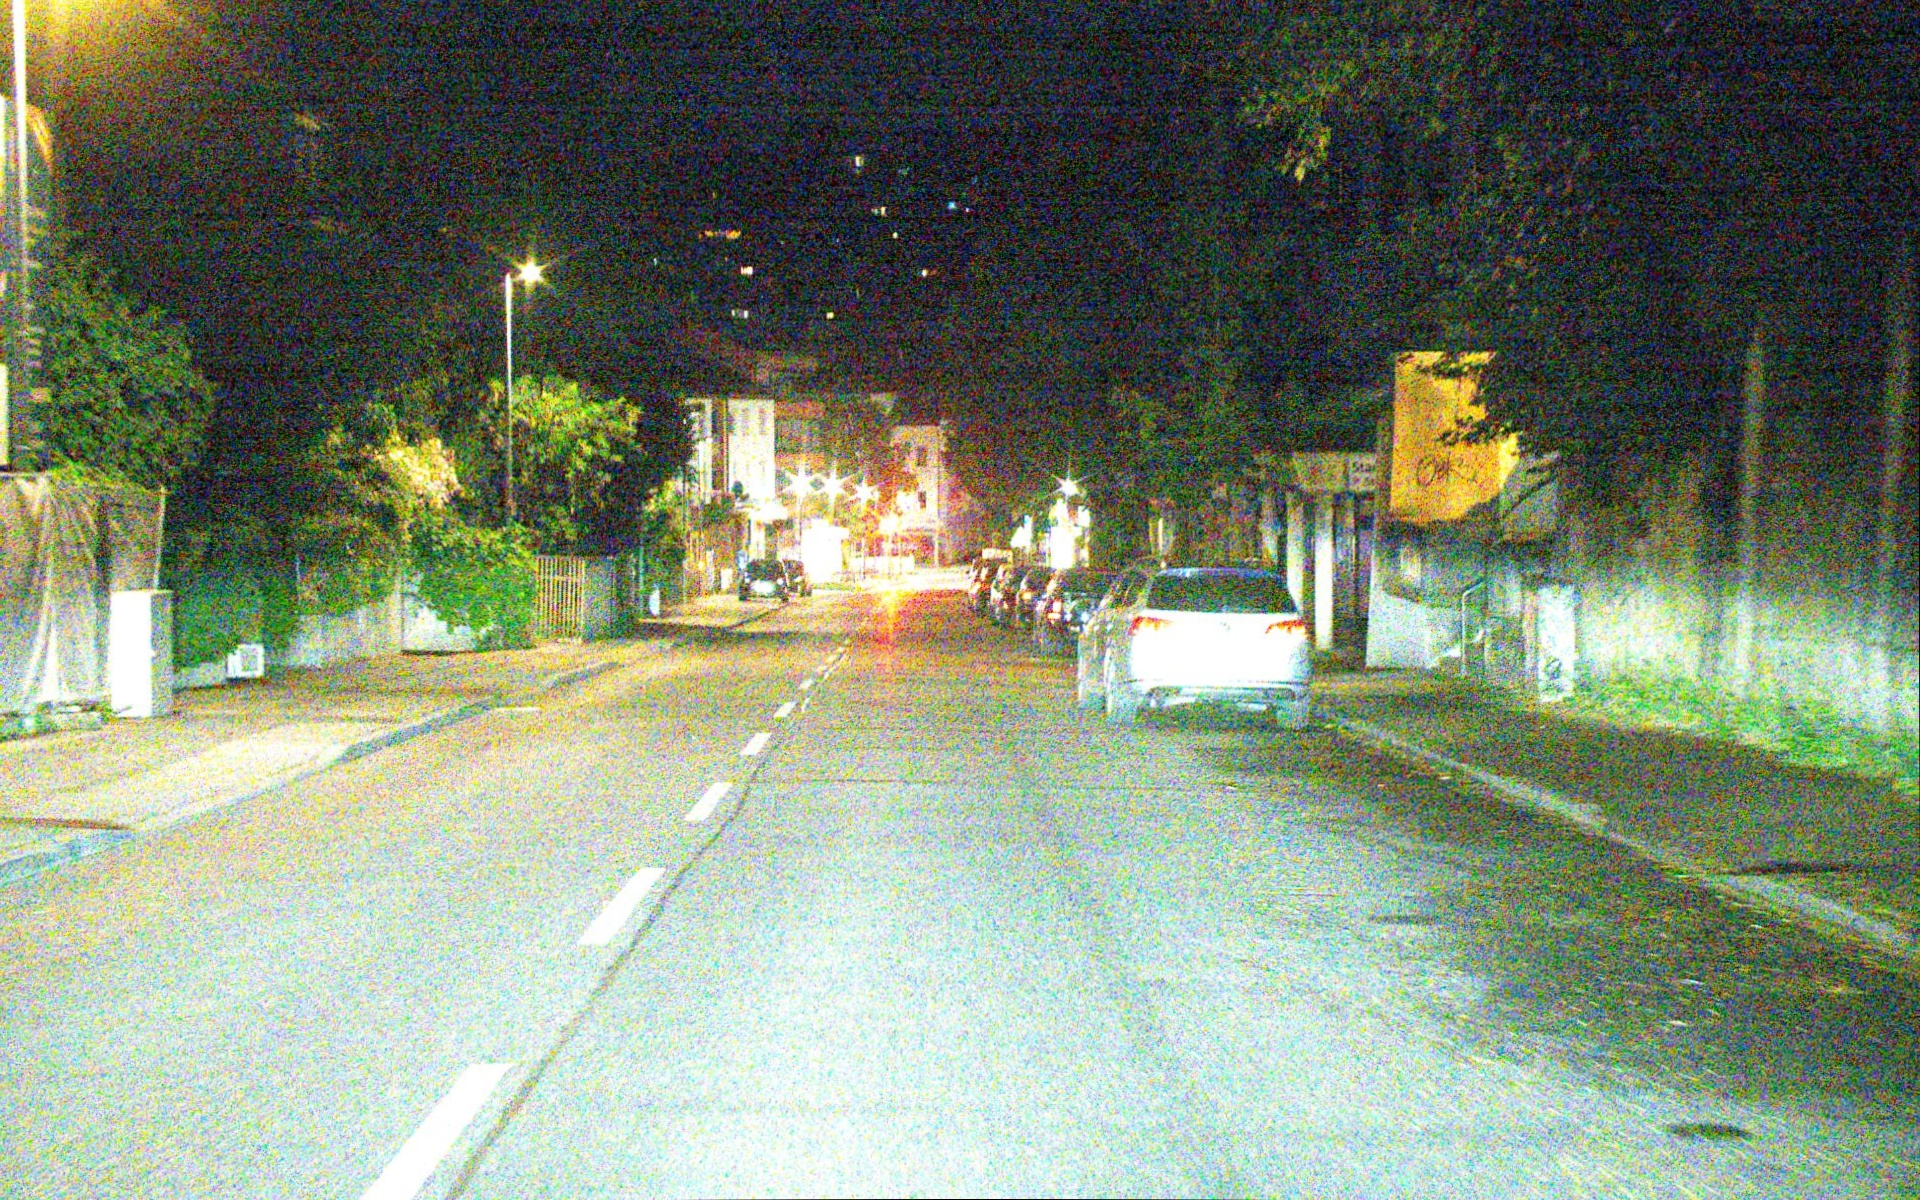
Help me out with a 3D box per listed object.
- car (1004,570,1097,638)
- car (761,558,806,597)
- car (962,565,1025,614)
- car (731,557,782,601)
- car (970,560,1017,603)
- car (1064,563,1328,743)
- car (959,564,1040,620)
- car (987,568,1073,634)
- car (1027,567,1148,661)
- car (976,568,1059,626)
[{"bbox_3d":[1.981,0.065,74.475,1.868,1.398,4.000,1,1,3],"label":"car"},{"bbox_3d":[-7.103,-0.907,138.427,1.753,1.534,3.731,0,1,-2],"label":"car"},{"bbox_3d":[1.002,-0.332,105.745,1.682,1.443,4.001,1,1,-3],"label":"car"},{"bbox_3d":[-7.192,-0.743,121.303,1.753,1.534,3.731,0,1,-4],"label":"car"},{"bbox_3d":[1.229,-0.680,126.155,1.682,1.534,4.000,0,1,0],"label":"car"},{"bbox_3d":[2.086,0.434,31.537,1.763,1.470,4.277,2,1,-4],"label":"car"},{"bbox_3d":[1.058,-0.241,94.568,1.682,1.443,4.001,1,1,-7],"label":"car"},{"bbox_3d":[1.592,0.005,79.321,1.682,1.443,4.001,1,1,-3],"label":"car"},{"bbox_3d":[2.005,0.199,54.915,1.629,1.434,3.865,0,1,-2],"label":"car"},{"bbox_3d":[1.484,-0.094,89.928,1.682,1.443,4.001,1,1,-6],"label":"car"}]
